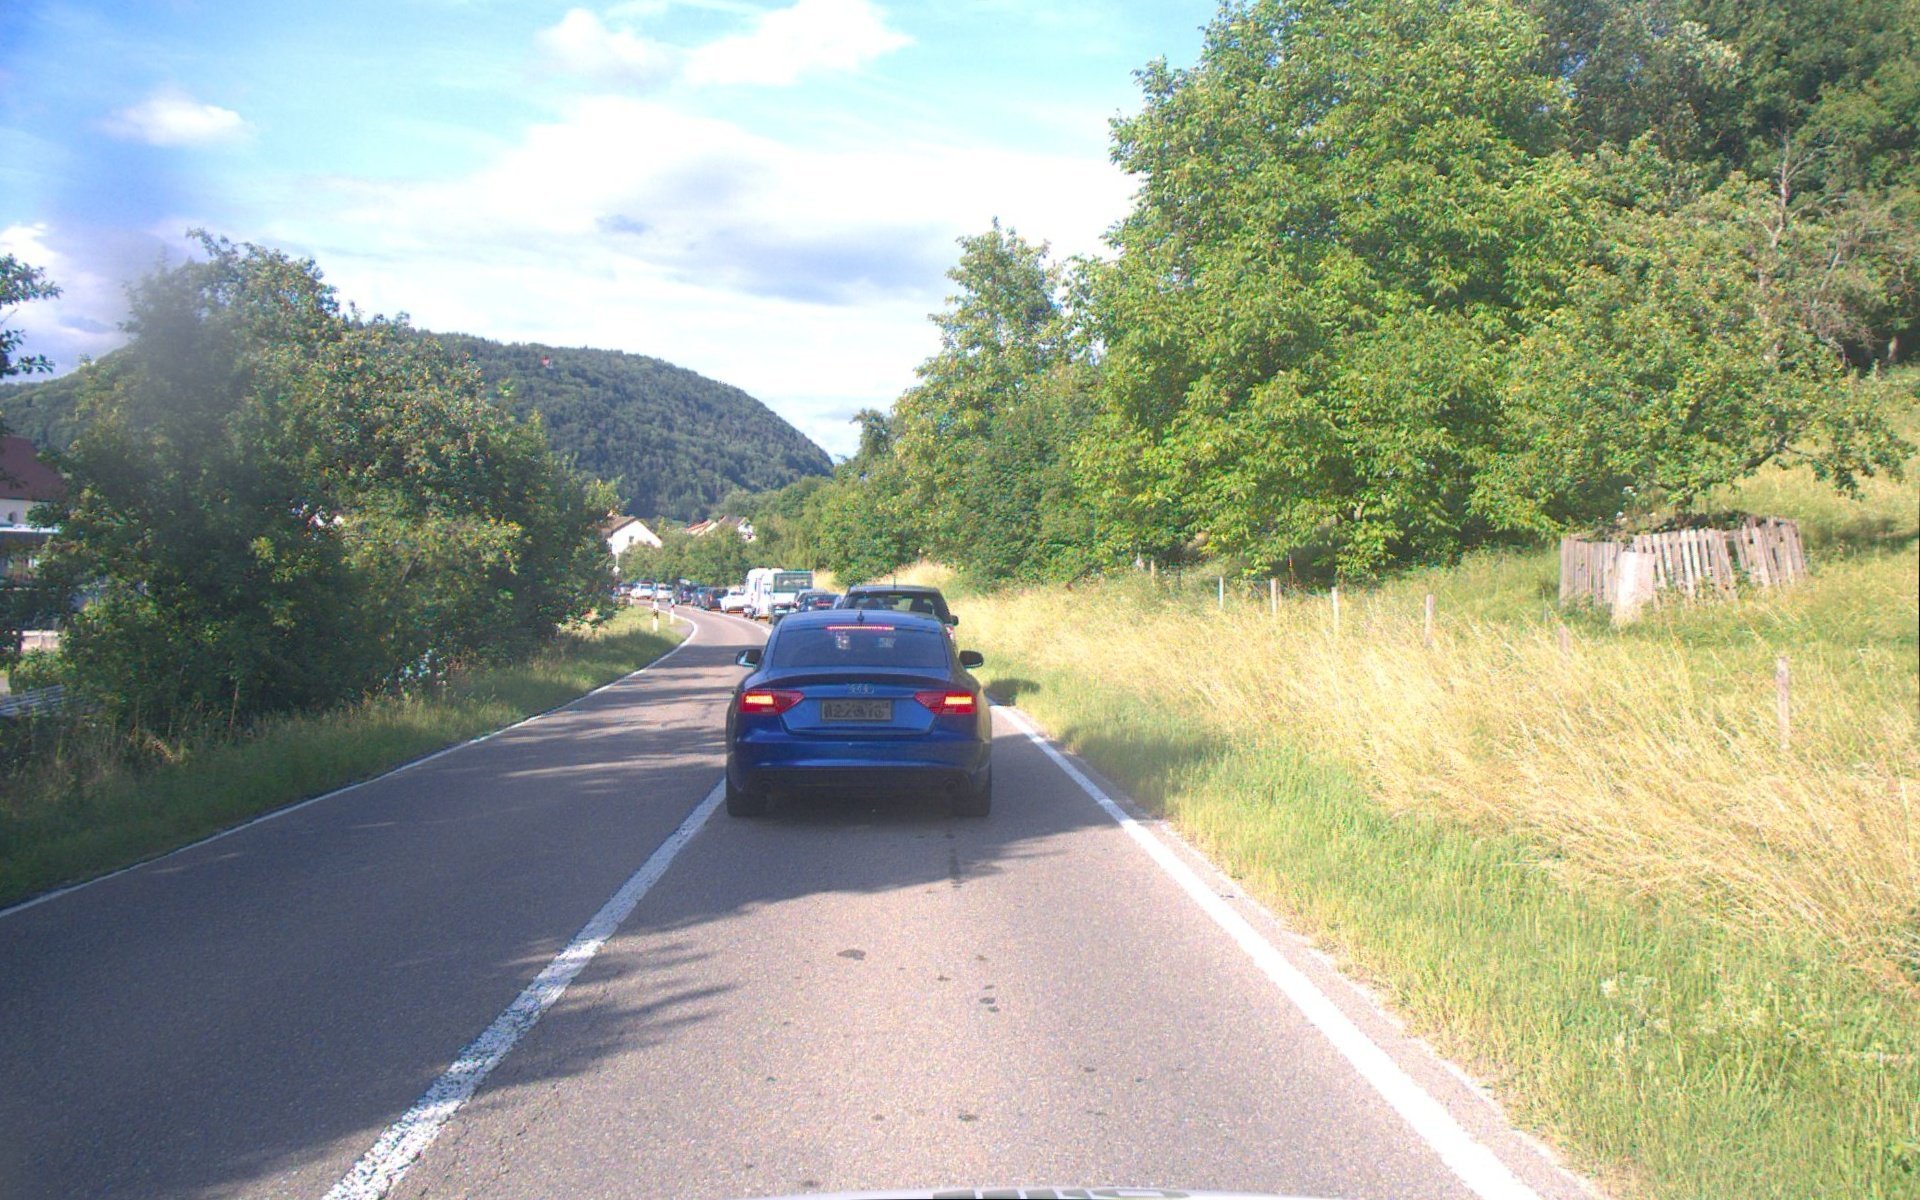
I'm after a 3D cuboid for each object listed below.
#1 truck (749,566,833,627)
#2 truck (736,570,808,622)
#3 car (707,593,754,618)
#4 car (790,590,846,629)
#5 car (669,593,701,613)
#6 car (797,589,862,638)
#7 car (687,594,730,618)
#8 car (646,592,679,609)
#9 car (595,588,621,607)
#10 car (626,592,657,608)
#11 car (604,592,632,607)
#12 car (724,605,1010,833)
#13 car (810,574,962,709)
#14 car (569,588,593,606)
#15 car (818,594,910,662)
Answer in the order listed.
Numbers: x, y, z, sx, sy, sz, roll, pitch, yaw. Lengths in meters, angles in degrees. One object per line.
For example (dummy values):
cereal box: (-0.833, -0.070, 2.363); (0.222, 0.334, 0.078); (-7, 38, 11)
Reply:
truck: (-8.298, -0.193, 79.916); (2.814, 2.712, 10.359); (1, 0, -13)
truck: (-10.509, -0.227, 91.346); (2.814, 2.712, 10.610); (1, 0, -13)
car: (-14.372, 0.365, 103.308); (1.966, 1.508, 3.973); (1, 0, -22)
car: (-5.806, 0.383, 67.235); (1.957, 1.508, 3.991); (1, 0, -9)
car: (-21.984, 0.221, 132.261); (1.963, 1.508, 3.979); (1, 0, -18)
car: (-4.332, 0.442, 54.511); (1.955, 1.508, 3.994); (1, 0, -7)
car: (-16.802, 0.396, 110.420); (1.966, 1.508, 3.973); (1, 0, -22)
car: (-26.111, 0.048, 145.262); (1.968, 1.508, 3.970); (1, 0, -24)
car: (-37.301, -0.258, 175.302); (1.967, 2.049, 3.971); (1, 0, -23)
car: (-30.252, -0.028, 156.985); (1.968, 1.508, 3.970); (1, 0, -24)
car: (-34.710, -0.030, 167.890); (1.968, 1.508, 3.970); (1, 0, -24)
car: (-0.613, 0.737, 12.184); (1.757, 1.383, 3.999); (0, 0, -1)
car: (-1.031, 0.549, 23.522); (1.953, 1.732, 3.998); (1, 0, -2)
car: (-42.567, -0.343, 185.903); (1.967, 2.049, 3.971); (1, 0, -23)
car: (-2.126, 0.608, 37.370); (1.953, 1.411, 3.998); (1, 0, -2)
